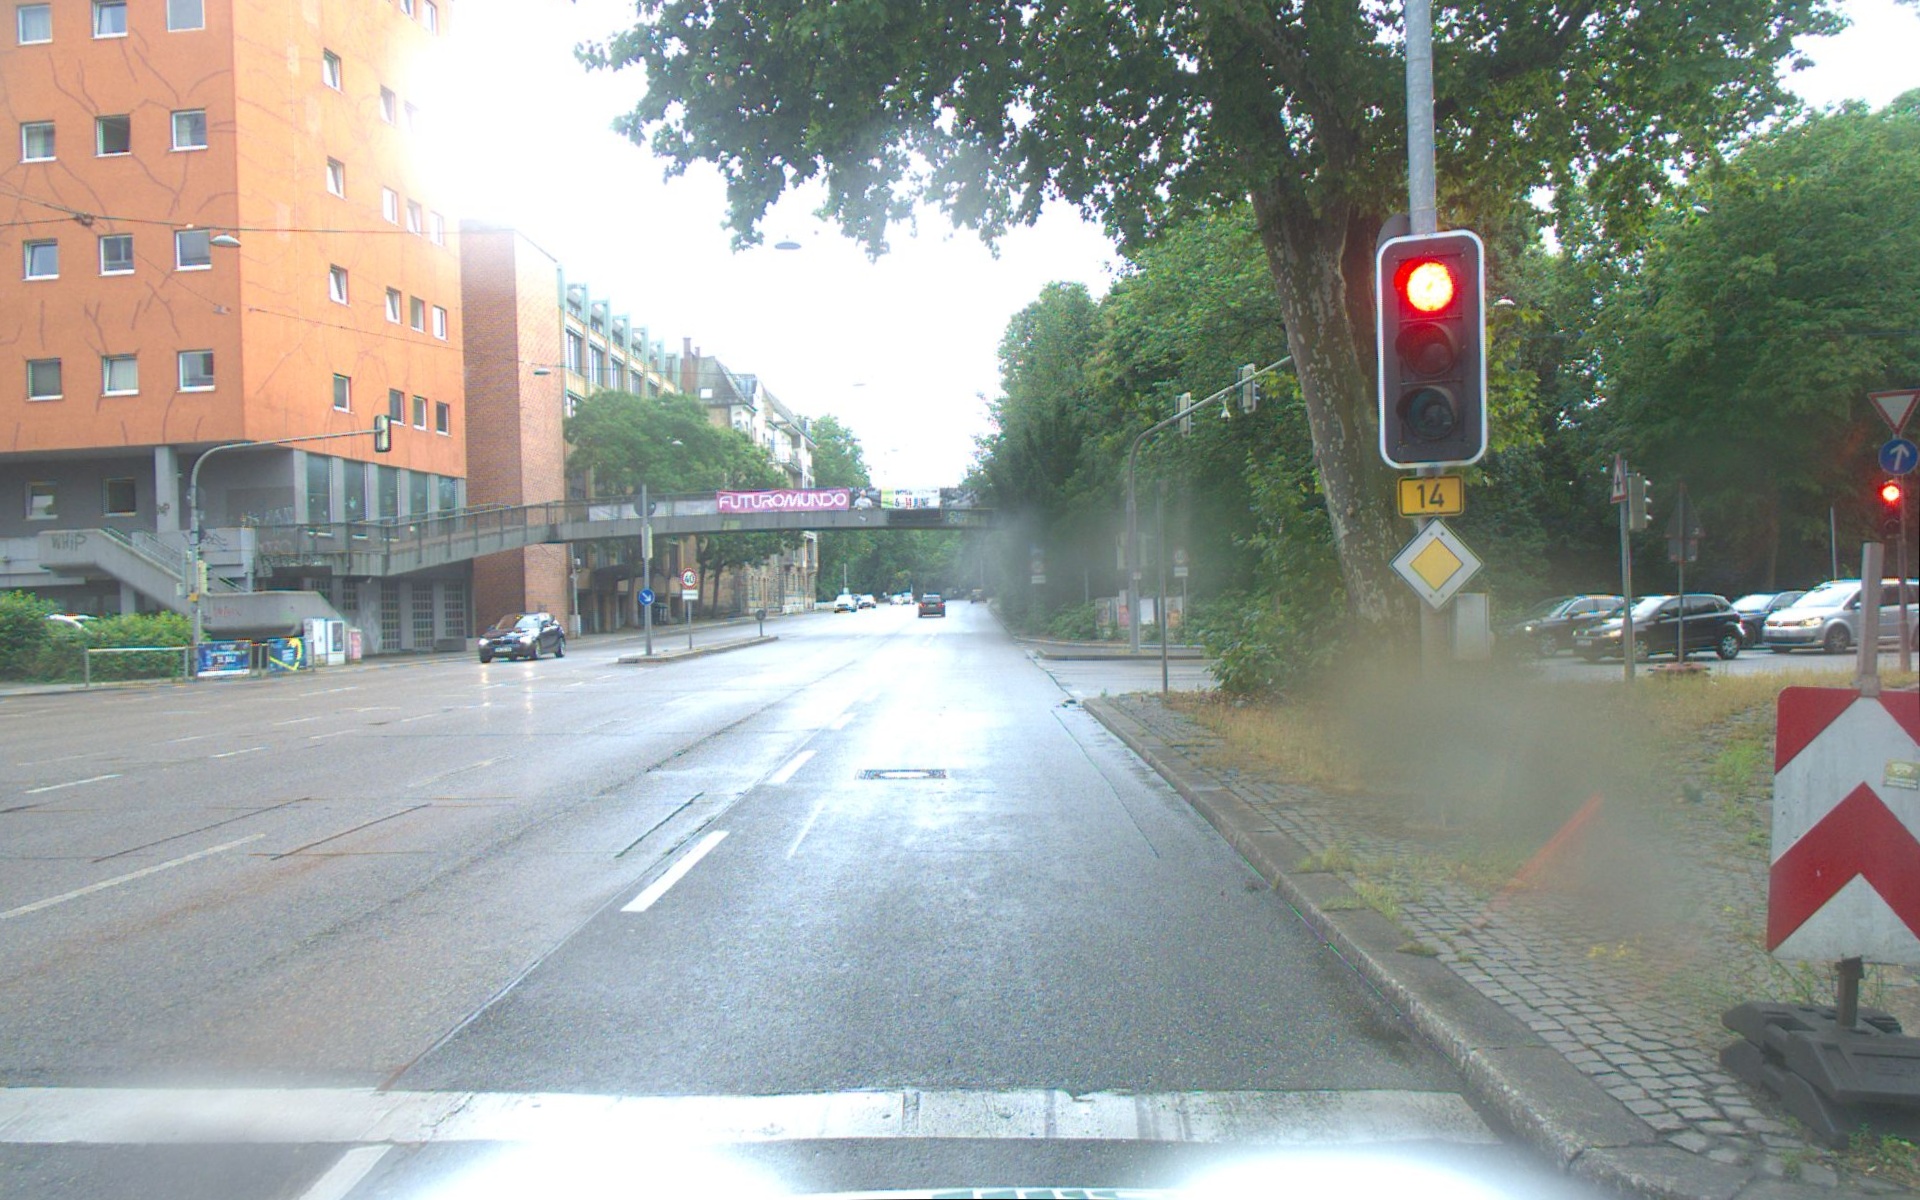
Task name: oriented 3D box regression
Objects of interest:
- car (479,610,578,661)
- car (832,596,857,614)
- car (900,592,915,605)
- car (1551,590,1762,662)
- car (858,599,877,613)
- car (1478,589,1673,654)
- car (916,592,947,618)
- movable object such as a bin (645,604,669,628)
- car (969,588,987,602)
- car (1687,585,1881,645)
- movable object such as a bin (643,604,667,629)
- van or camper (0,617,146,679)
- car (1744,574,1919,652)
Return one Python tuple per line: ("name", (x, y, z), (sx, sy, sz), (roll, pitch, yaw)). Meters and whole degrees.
("car", (-13.187, 1.085, 50.769), (1.650, 1.444, 4.216), (-2, -1, 3))
("car", (-10.682, 0.485, 153.806), (1.850, 1.638, 4.457), (-1, 0, 2))
("car", (-6.477, -0.209, 202.926), (1.648, 1.461, 3.862), (-2, 0, 0))
("car", (15.372, 0.575, 36.520), (4.119, 1.486, 1.785), (1, 0, -17))
("car", (-10.082, 0.619, 179.887), (1.673, 1.490, 4.042), (-2, 0, 2))
("car", (14.985, 0.523, 40.308), (4.131, 1.466, 1.941), (1, 0, -17))
("car", (-1.904, 0.323, 110.506), (1.964, 1.672, 4.374), (-1, 0, -2))
("movable object such as a bin", (-19.817, 1.027, 108.213), (1.272, 1.545, 1.214), (-1, 0, 1))
("car", (1.952, -0.530, 179.232), (1.805, 1.478, 3.776), (1, 0, -1))
("car", (20.873, 0.383, 41.945), (4.361, 1.427, 1.821), (1, 0, -17))
("movable object such as a bin", (-19.689, 1.049, 106.809), (1.256, 1.545, 1.273), (-1, 0, 1))
("van or camper", (-25.876, 1.376, 47.654), (3.902, 1.656, 1.915), (-1, 0, 5))
("car", (20.649, 0.308, 38.526), (4.129, 1.709, 1.898), (1, 0, -17))
